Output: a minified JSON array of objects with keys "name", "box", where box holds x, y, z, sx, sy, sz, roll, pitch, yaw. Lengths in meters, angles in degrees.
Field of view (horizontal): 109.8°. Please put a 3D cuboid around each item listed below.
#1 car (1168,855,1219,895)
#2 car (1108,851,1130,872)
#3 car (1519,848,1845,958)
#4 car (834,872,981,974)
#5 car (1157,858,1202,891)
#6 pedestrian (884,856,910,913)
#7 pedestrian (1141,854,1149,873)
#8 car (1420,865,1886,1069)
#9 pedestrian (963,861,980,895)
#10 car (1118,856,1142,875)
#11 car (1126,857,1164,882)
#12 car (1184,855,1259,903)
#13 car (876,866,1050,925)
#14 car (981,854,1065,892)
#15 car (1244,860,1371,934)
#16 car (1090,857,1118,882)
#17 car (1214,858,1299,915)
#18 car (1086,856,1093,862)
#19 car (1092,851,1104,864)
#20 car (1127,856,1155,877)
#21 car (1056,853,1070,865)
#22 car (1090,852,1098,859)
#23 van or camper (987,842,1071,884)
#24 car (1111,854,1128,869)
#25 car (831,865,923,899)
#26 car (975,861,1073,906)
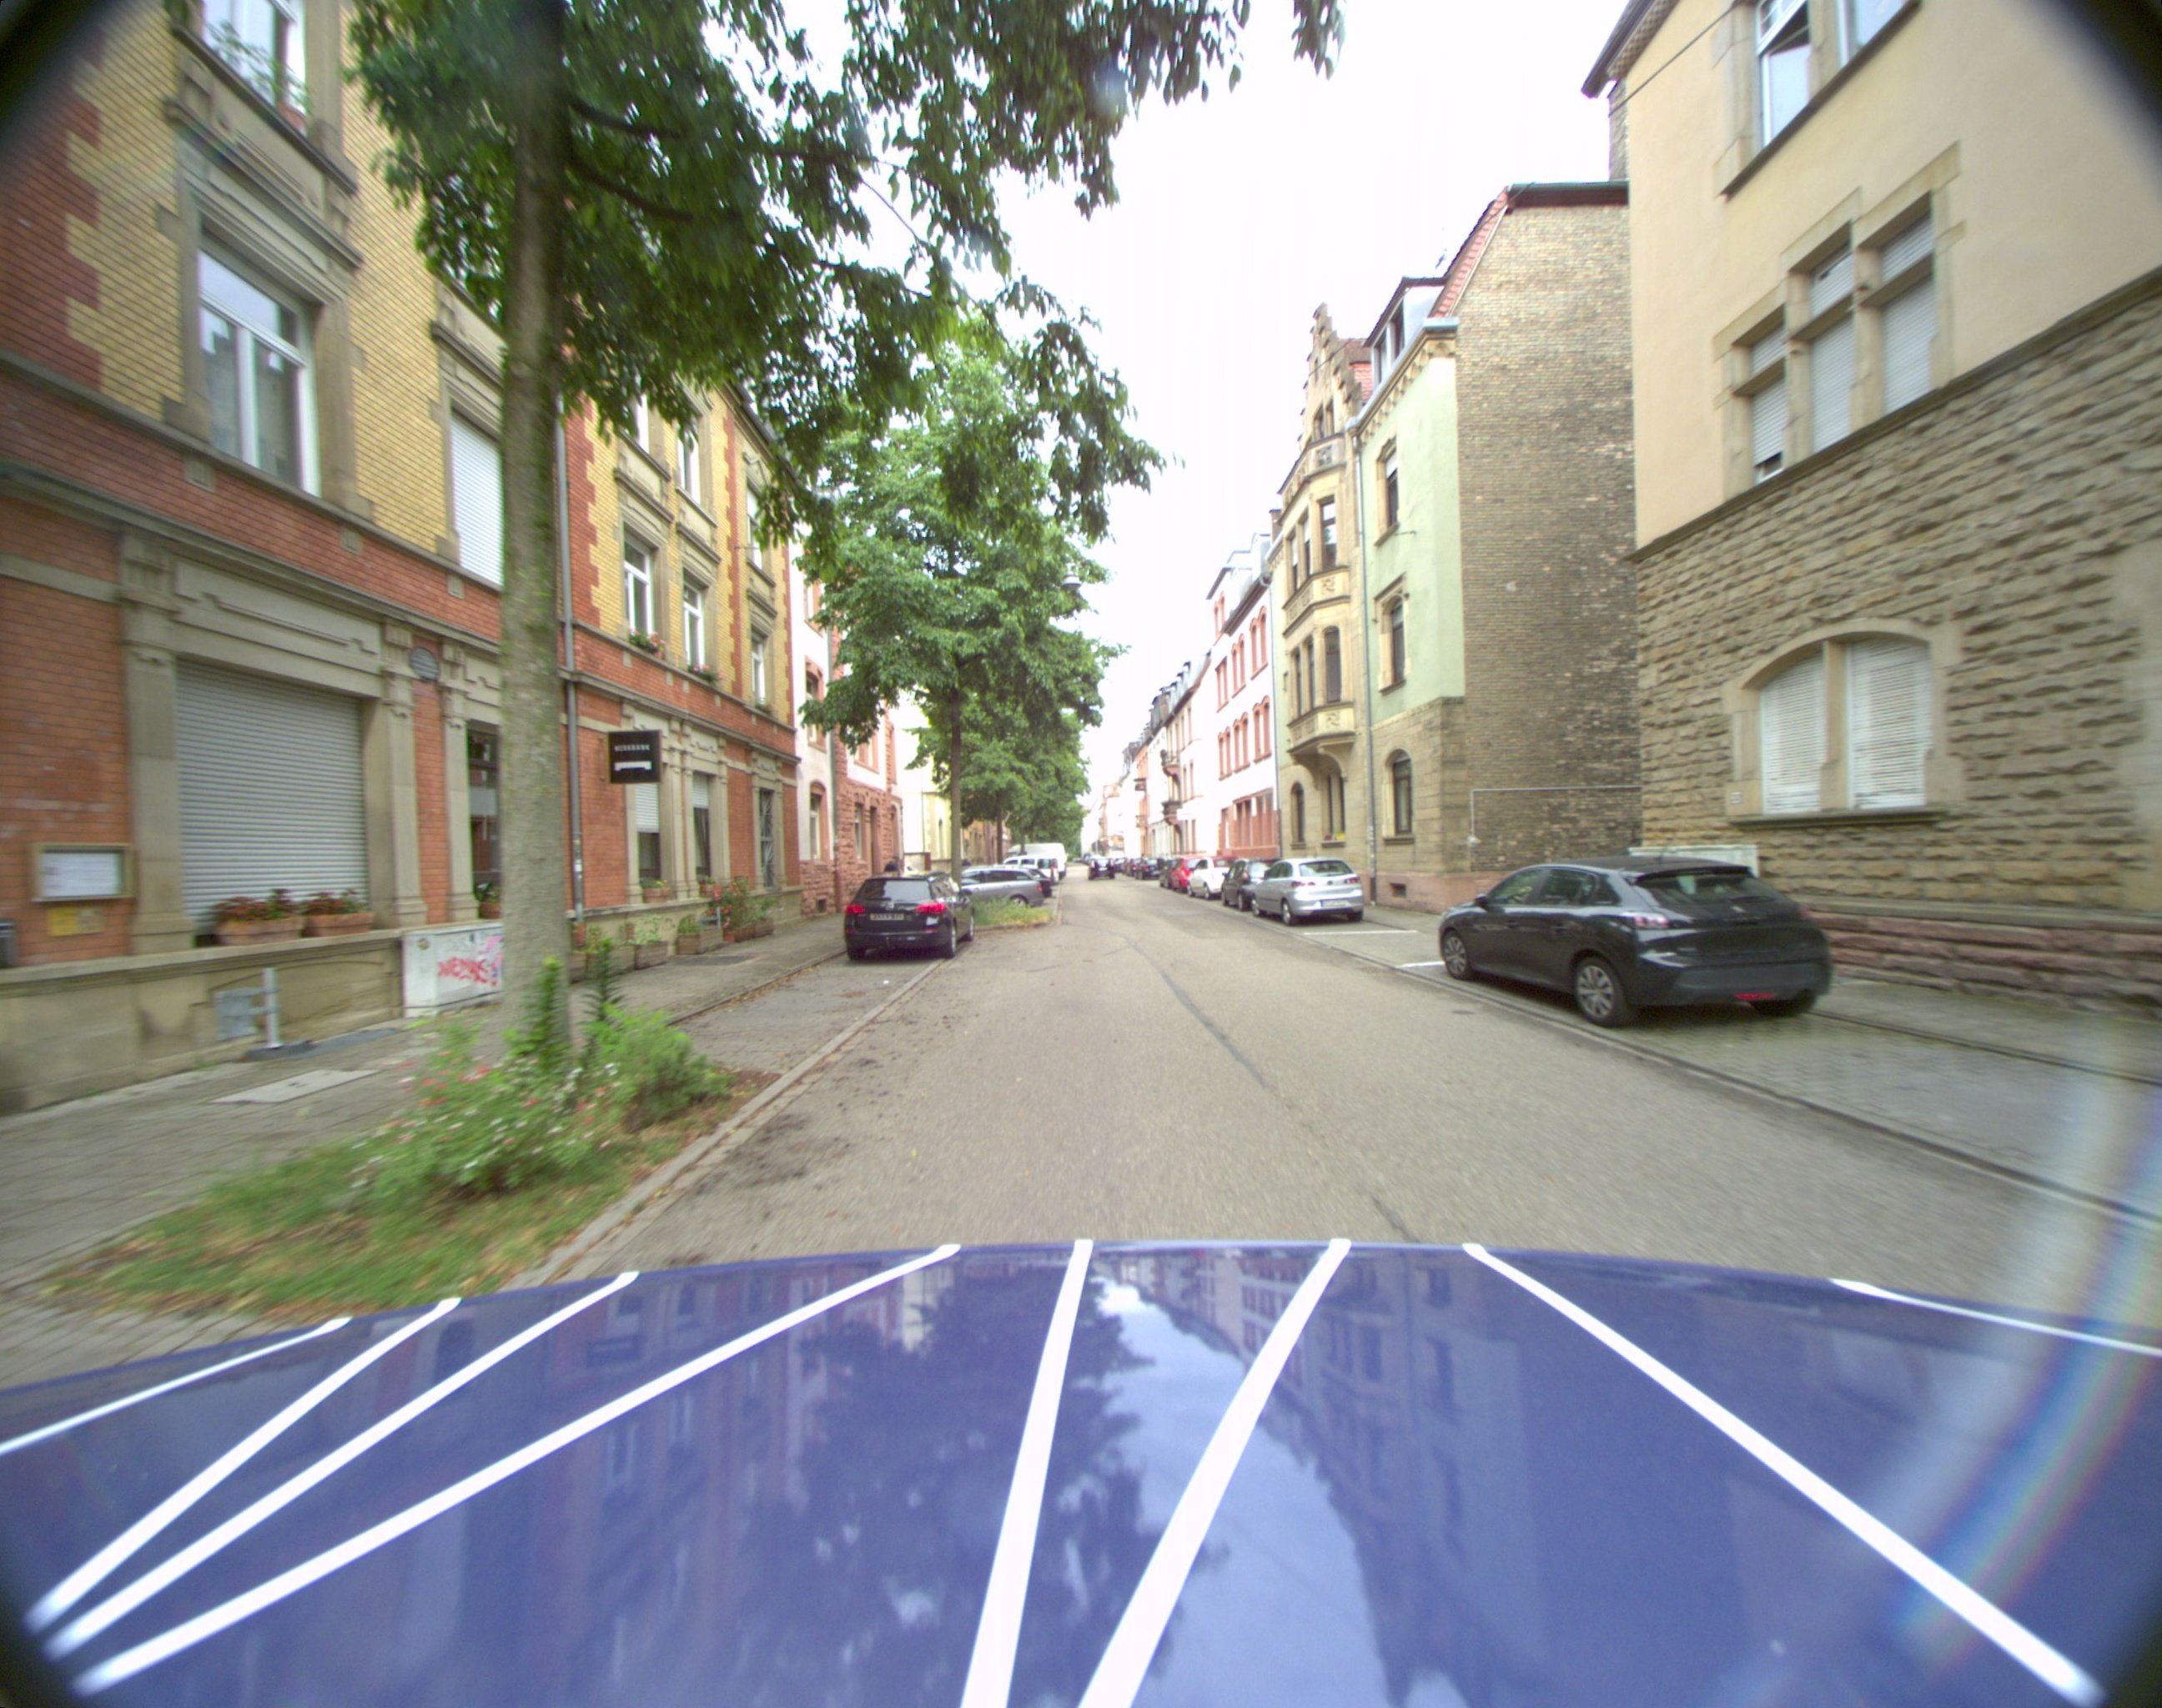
[{"name":"car","box":[4.664,0.844,31.879,1.469,1.521,3.568,-4,0,-1]},{"name":"car","box":[3.550,0.695,71.631,1.844,1.849,4.000,-2,0,1]},{"name":"car","box":[9.788,0.752,12.611,3.997,1.555,1.767,-2,0,-1]},{"name":"car","box":[-3.002,1.135,14.095,1.769,1.477,4.479,0,0,-1]},{"name":"car","box":[4.630,0.934,36.083,1.469,1.408,3.918,-4,0,-1]},{"name":"pedestrian","box":[-5.751,0.937,23.767,0.599,1.723,0.663,-2,0,-2]},{"name":"pedestrian","box":[5.627,0.810,66.621,0.577,1.599,0.544,-3,0,-1]},{"name":"car","box":[5.213,0.885,7.712,1.732,1.425,3.881,-4,0,0]},{"name":"pedestrian","box":[-5.892,1.273,40.891,0.703,1.801,0.817,-3,0,0]},{"name":"car","box":[3.972,0.960,62.496,1.610,1.463,3.342,-2,0,-2]},{"name":"car","box":[3.992,0.942,48.049,1.905,1.382,4.000,-3,0,-1]},{"name":"car","box":[4.933,0.848,27.167,1.671,1.502,3.552,-3,0,-5]},{"name":"car","box":[-3.197,1.064,20.994,4.453,1.419,1.754,0,0,-35]},{"name":"car","box":[-3.019,0.982,39.850,3.994,1.801,1.721,-2,0,10]},{"name":"car","box":[5.070,0.898,17.549,1.593,1.425,3.809,-4,0,-2]},{"name":"car","box":[1.604,1.055,54.598,1.814,1.620,4.207,-2,0,0]},{"name":"car","box":[4.984,0.891,21.982,1.521,1.425,3.455,-4,0,-1]},{"name":"car","box":[1.883,1.121,174.571,1.457,1.401,3.811,-3,0,0]},{"name":"car","box":[3.012,0.631,136.610,2.052,2.071,3.811,-3,0,0]},{"name":"car","box":[4.414,0.897,56.527,1.660,1.375,3.471,-4,0,-1]},{"name":"car","box":[-2.899,0.813,121.685,1.998,1.739,4.000,-3,0,1]},{"name":"car","box":[2.672,0.271,152.200,1.457,1.401,3.811,-3,0,0]},{"name":"van or camper","box":[-3.435,0.562,50.199,5.077,2.575,2.069,-2,0,-31]},{"name":"car","box":[3.906,0.716,76.916,1.457,1.401,3.811,-3,0,0]},{"name":"car","box":[-9.852,1.331,36.827,3.997,1.445,1.609,-2,0,-2]},{"name":"car","box":[-2.284,1.147,30.396,3.472,1.554,1.783,-3,0,-23]}]
